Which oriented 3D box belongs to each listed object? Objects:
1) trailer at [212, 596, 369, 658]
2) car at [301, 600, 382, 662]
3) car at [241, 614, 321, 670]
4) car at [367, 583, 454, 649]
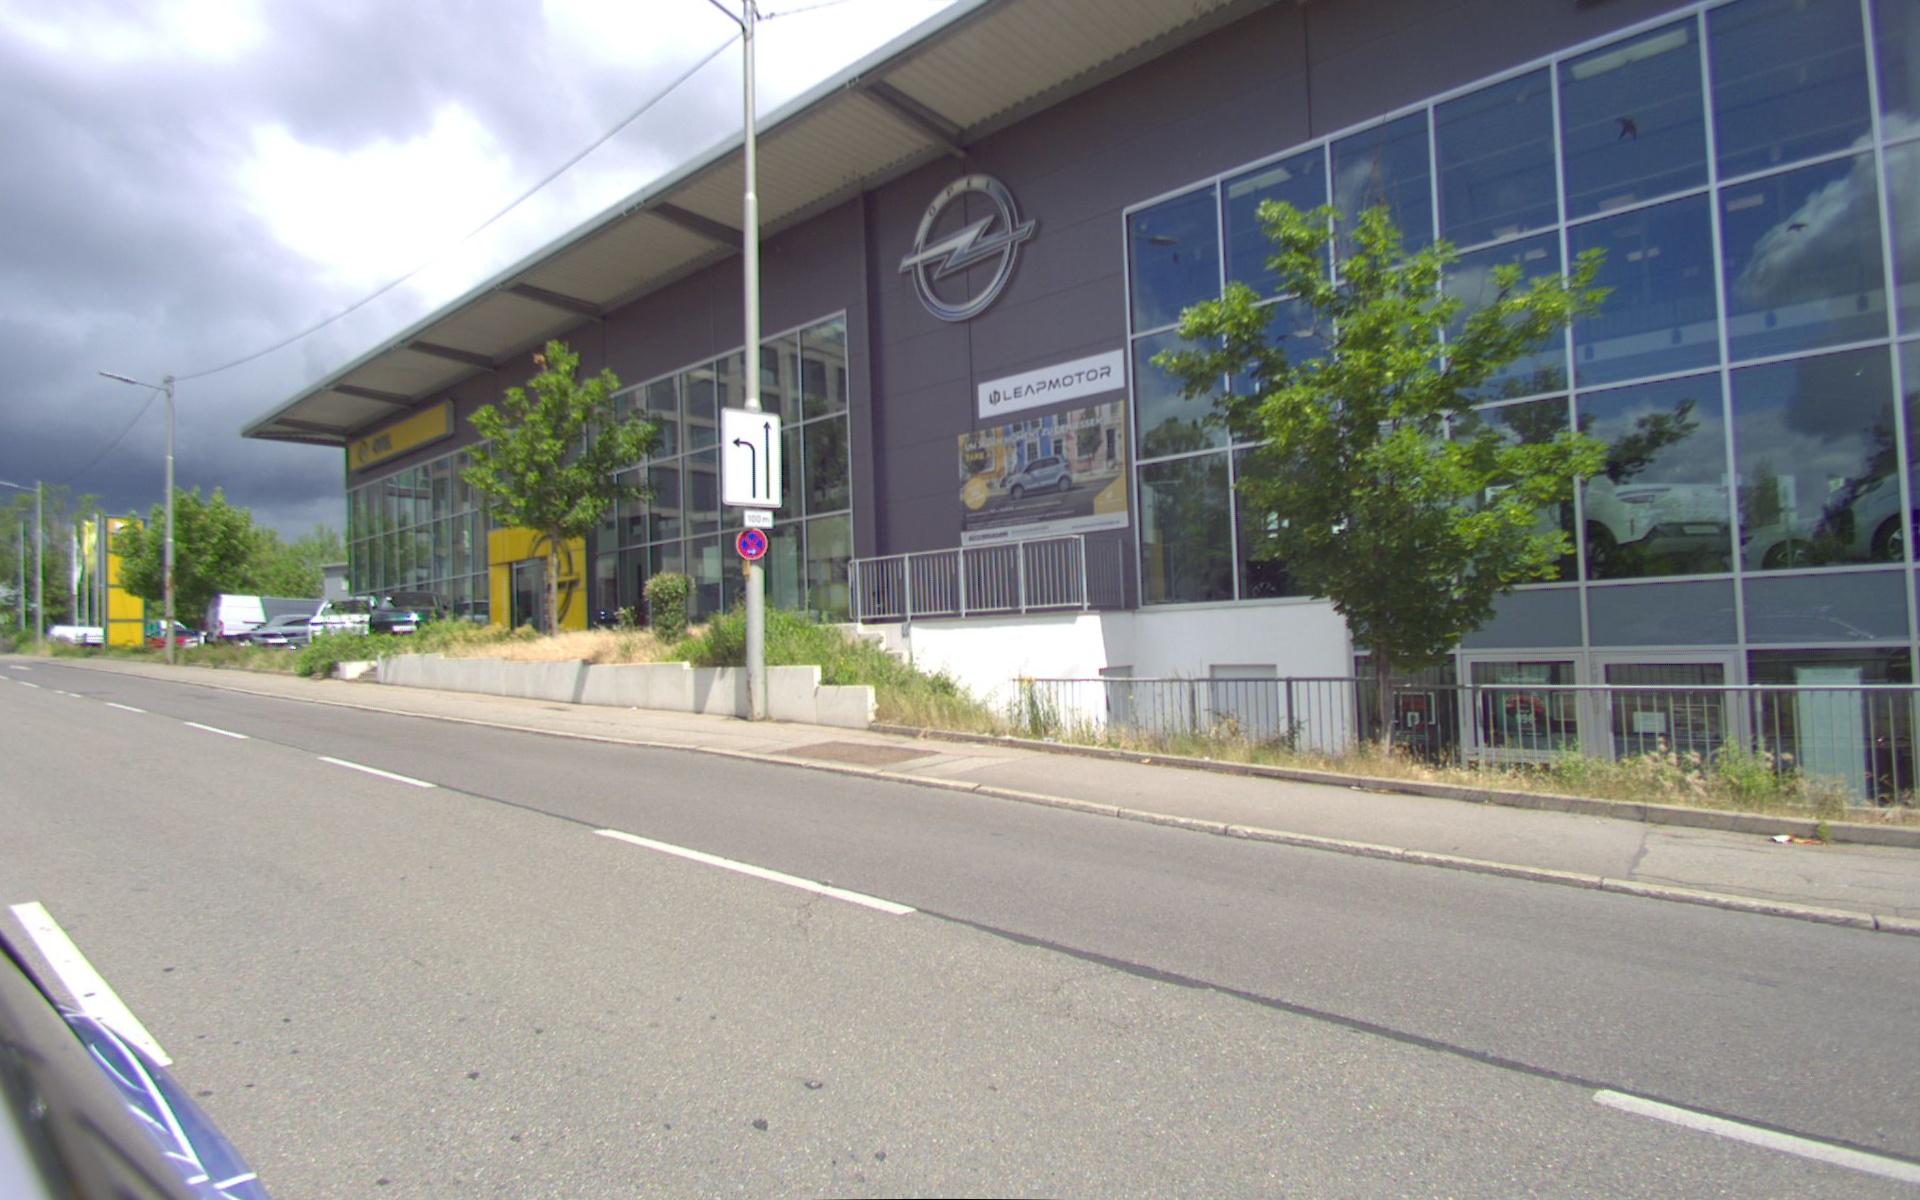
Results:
[{"bbox_3d":[-27.429,1.094,41.602,1.998,2.367,5.011,-1,-2,39],"label":"trailer"},{"bbox_3d":[-19.217,0.954,31.587,1.966,1.807,4.012,1,-2,-29],"label":"car"},{"bbox_3d":[-23.482,1.414,35.149,1.966,1.807,4.012,1,-1,-29],"label":"car"},{"bbox_3d":[-15.690,0.478,28.799,1.966,1.741,4.011,1,-2,-31],"label":"car"}]
